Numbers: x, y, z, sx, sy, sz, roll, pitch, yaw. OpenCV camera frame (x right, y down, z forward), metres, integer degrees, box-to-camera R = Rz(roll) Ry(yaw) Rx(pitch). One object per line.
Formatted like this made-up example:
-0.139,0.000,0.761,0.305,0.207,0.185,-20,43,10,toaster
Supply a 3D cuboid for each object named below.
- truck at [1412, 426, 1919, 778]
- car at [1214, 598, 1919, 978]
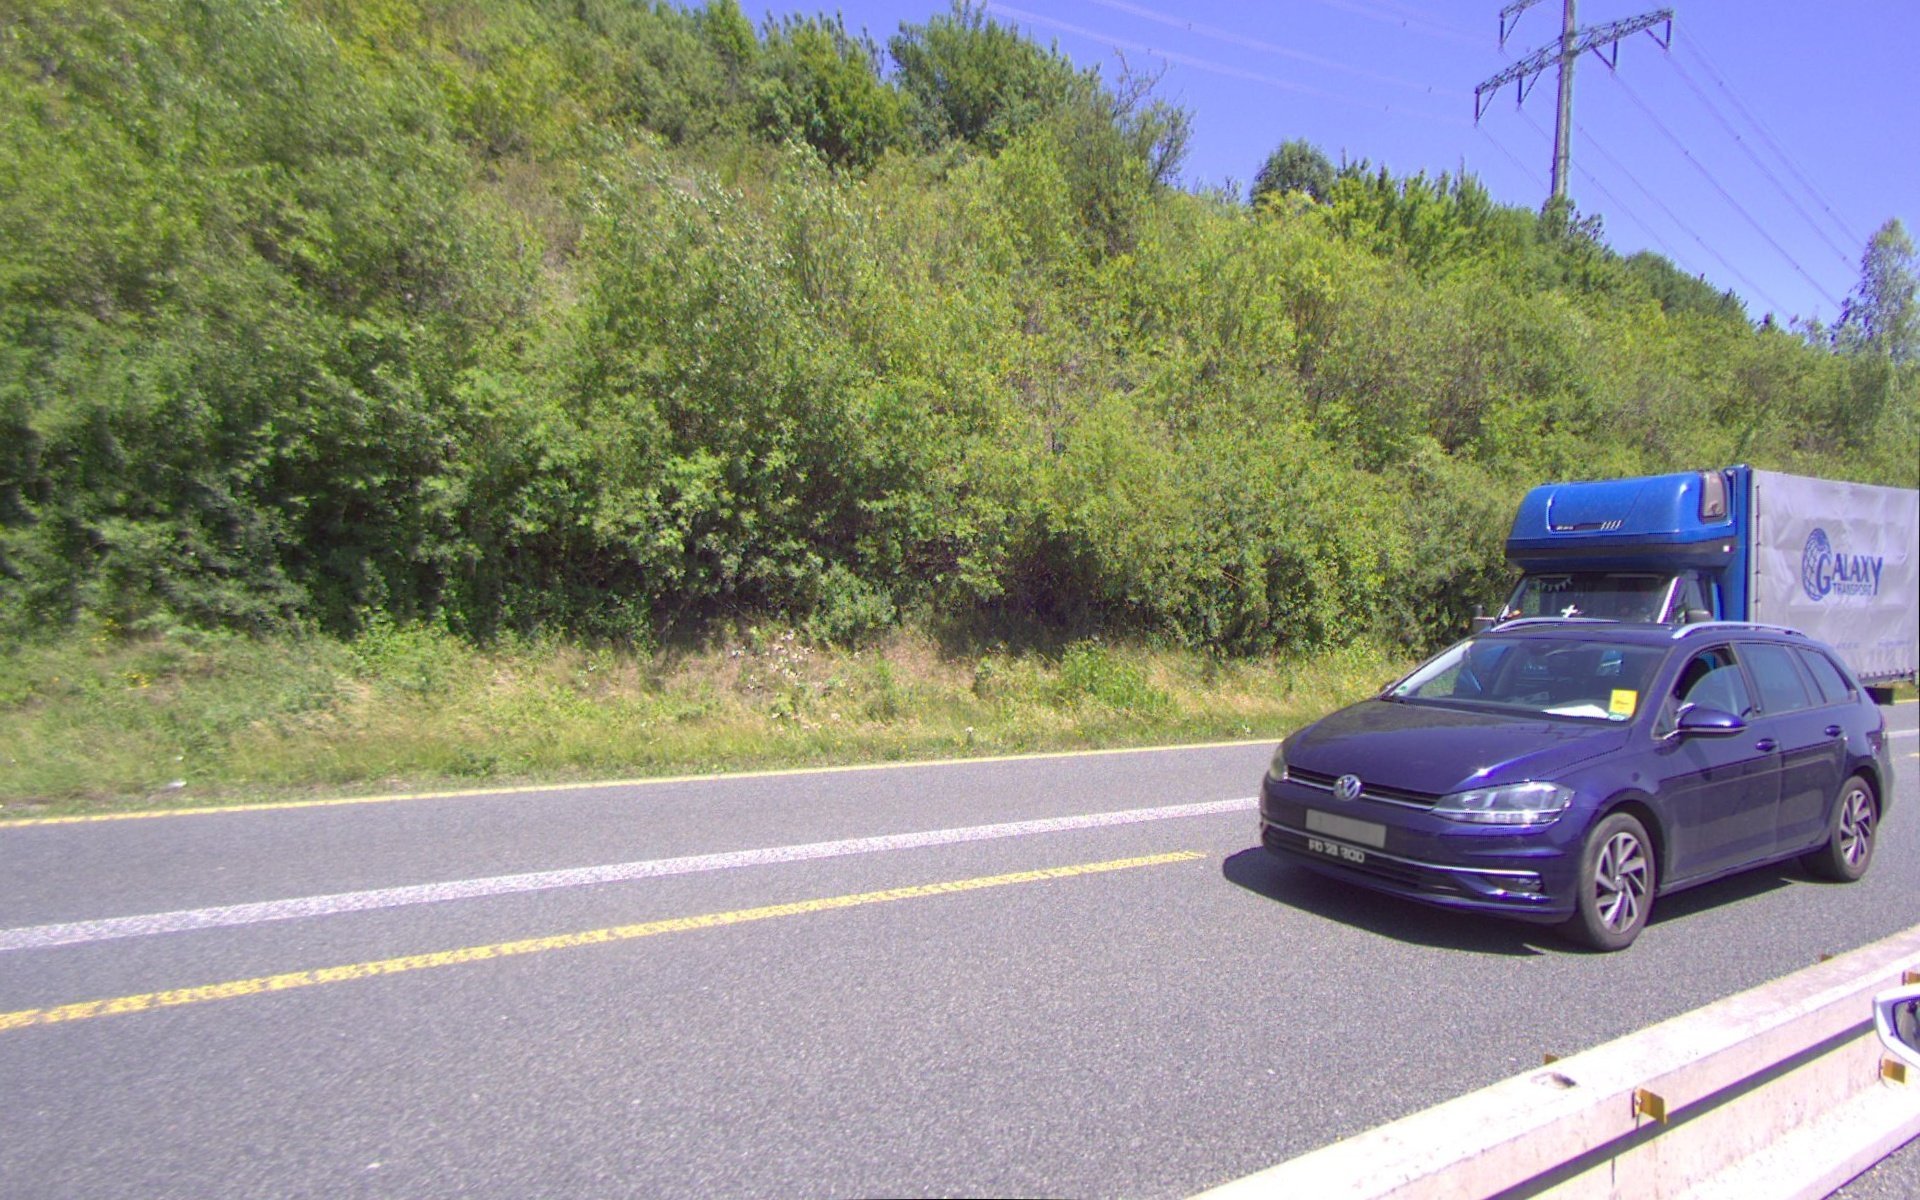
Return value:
9.104,0.079,12.531,7.410,3.375,2.394,1,0,-30,truck
3.733,0.823,5.898,4.350,1.510,1.752,2,0,-30,car
